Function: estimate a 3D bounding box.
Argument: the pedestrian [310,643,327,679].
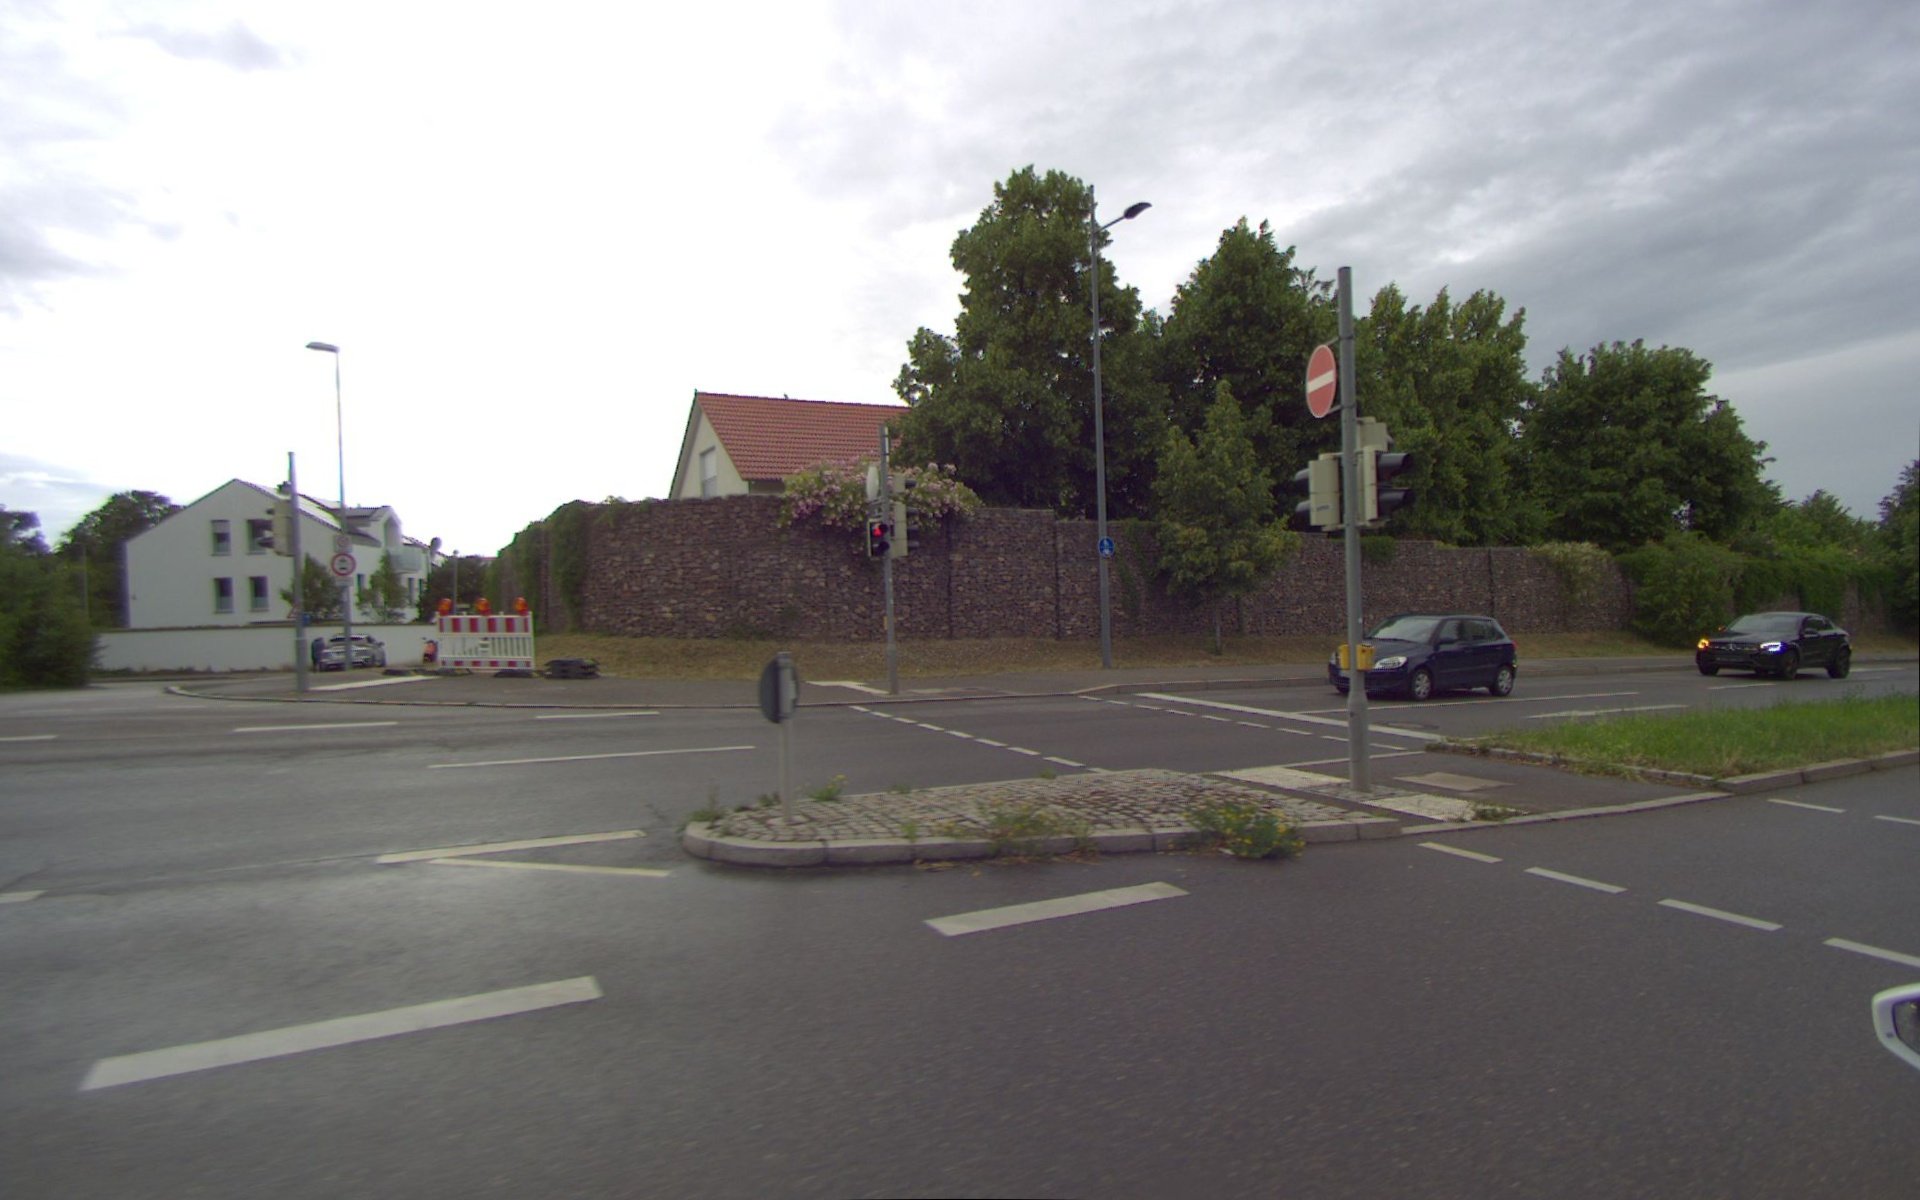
[{"bbox_3d":[-26.395,2.492,41.356,0.541,1.458,0.478,1,0,-28],"label":"pedestrian"}]

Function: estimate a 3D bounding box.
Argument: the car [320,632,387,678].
[{"bbox_3d":[-25.307,2.251,42.047,1.868,1.725,3.977,-1,-1,-24],"label":"car"}]

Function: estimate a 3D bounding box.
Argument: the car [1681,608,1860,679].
[{"bbox_3d":[20.497,1.062,25.378,4.708,1.616,1.873,1,0,-29],"label":"car"}]

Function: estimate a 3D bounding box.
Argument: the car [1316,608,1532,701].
[{"bbox_3d":[8.388,0.925,18.073,3.954,1.509,1.590,1,0,-31],"label":"car"}]

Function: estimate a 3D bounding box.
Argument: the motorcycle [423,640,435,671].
[{"bbox_3d":[-21.225,2.219,40.152,0.340,1.158,1.301,2,-1,-27],"label":"motorcycle"}]
